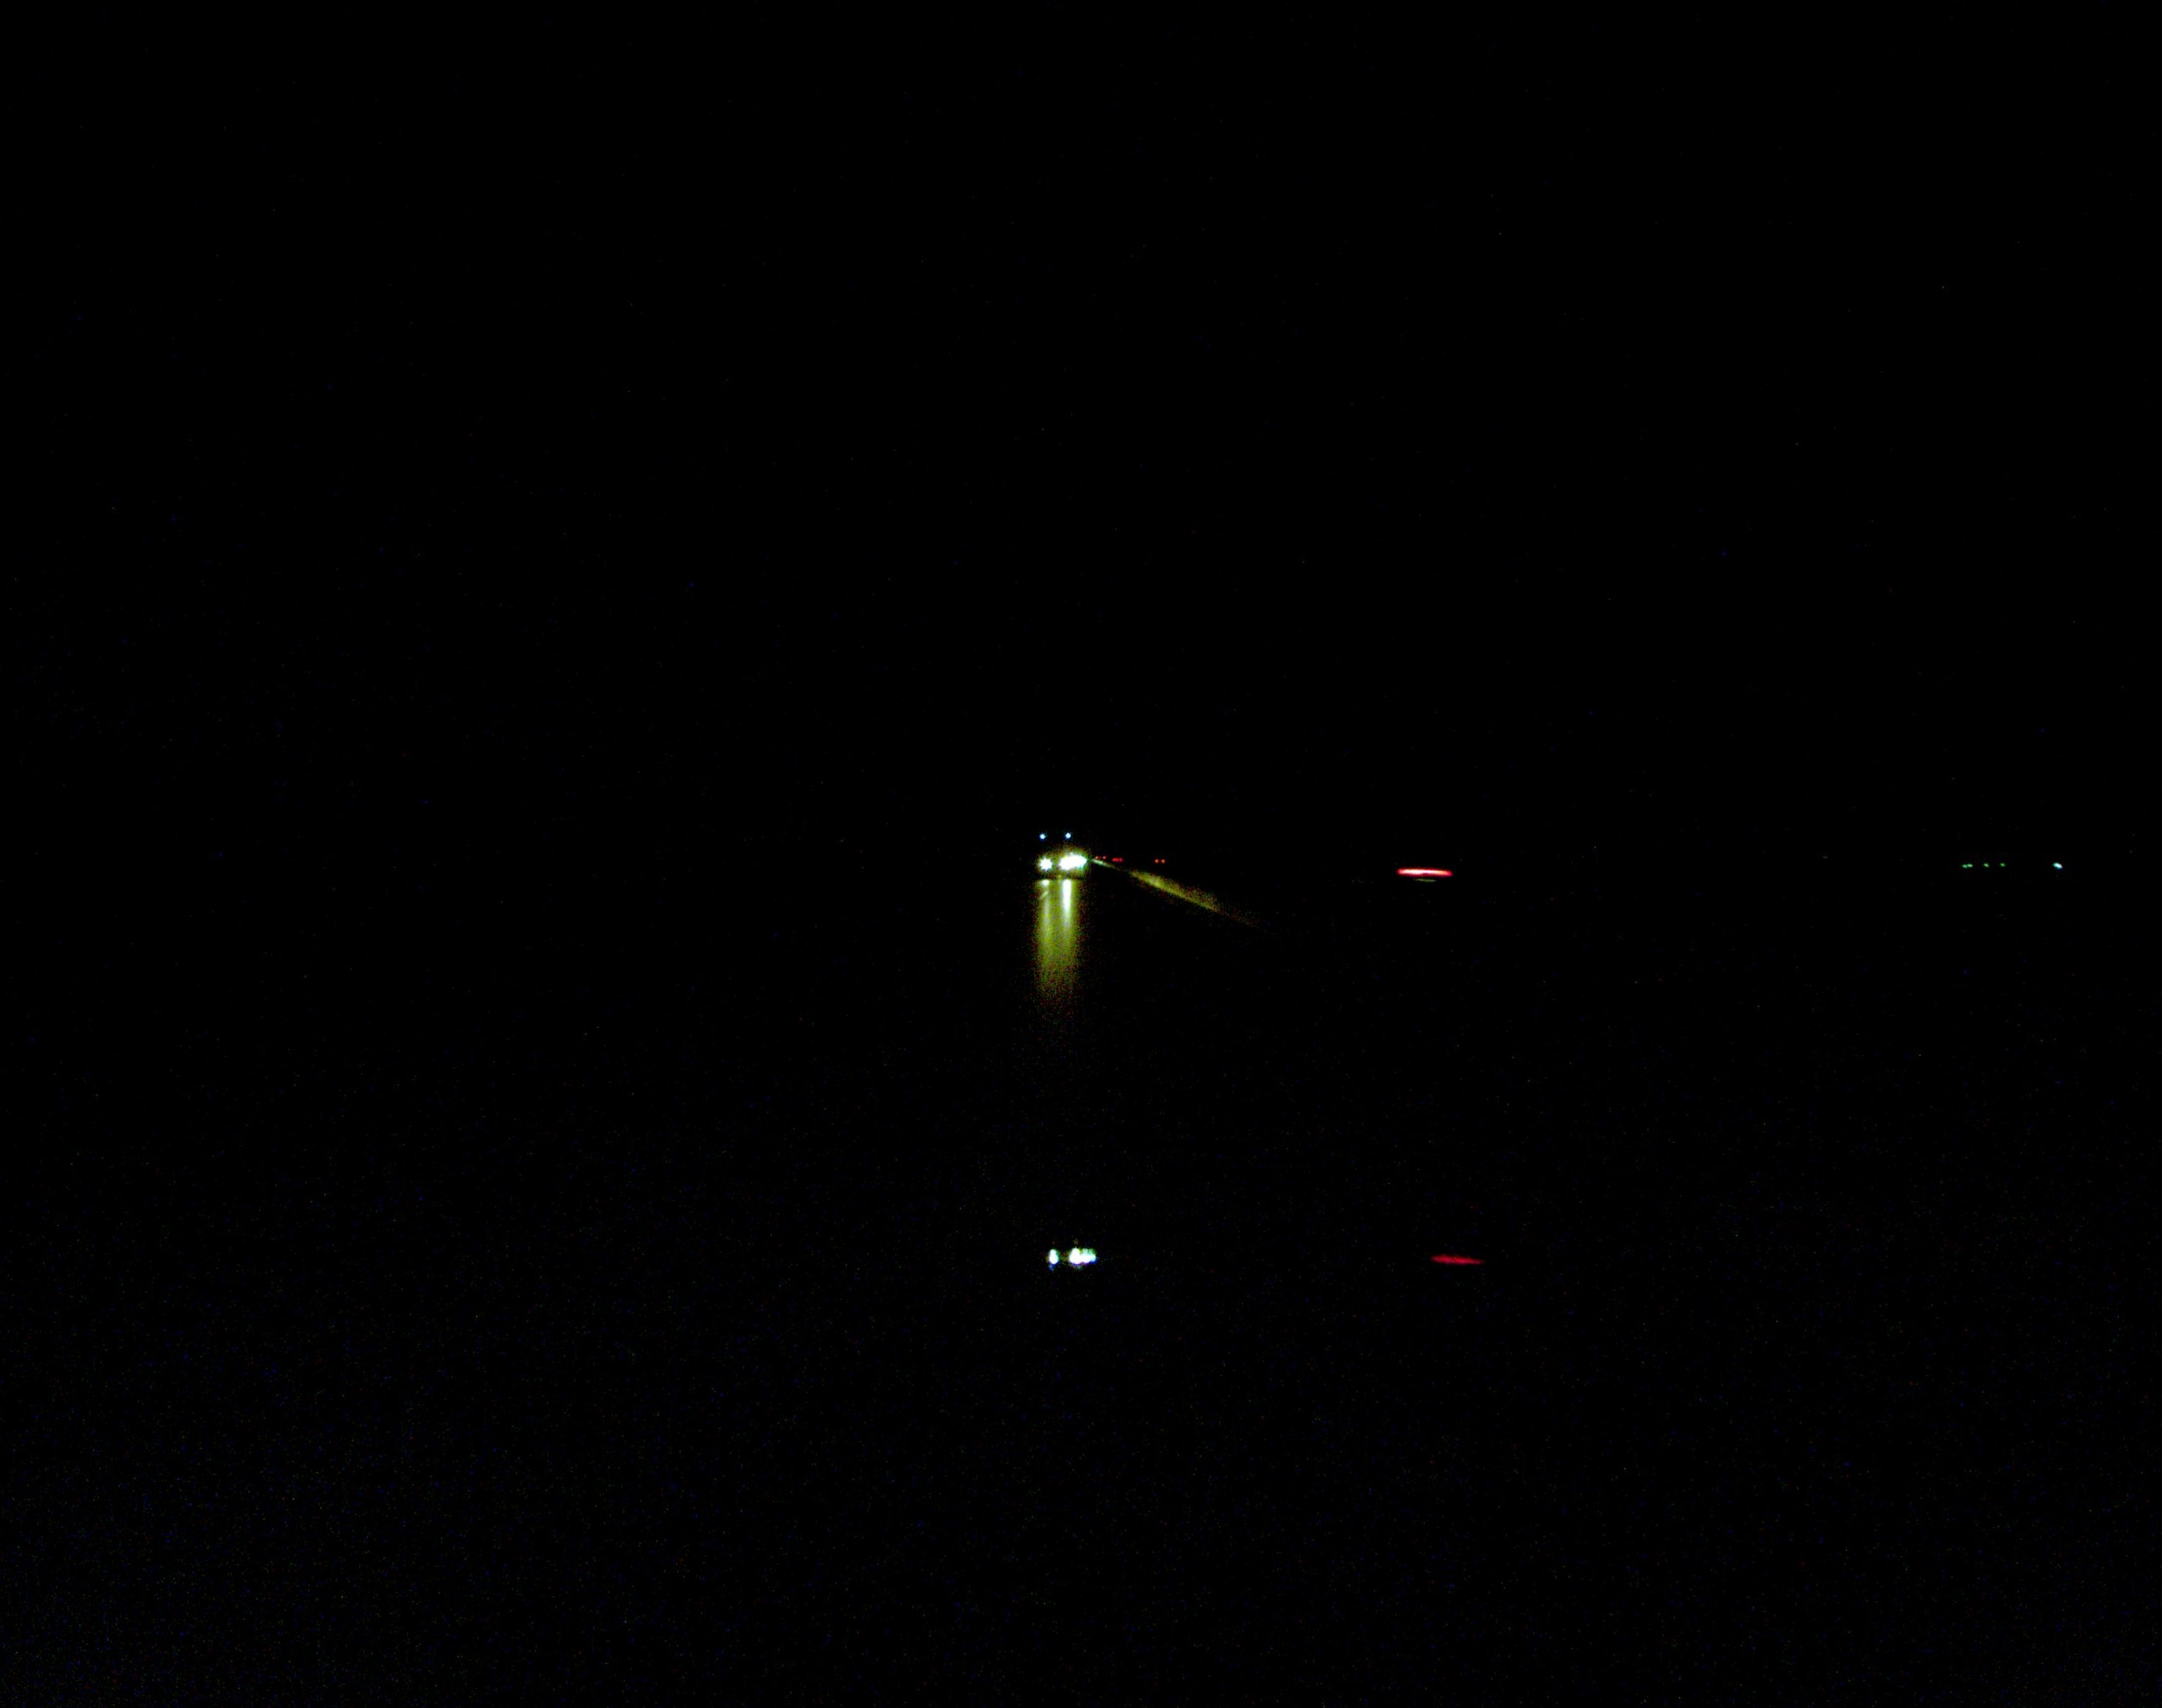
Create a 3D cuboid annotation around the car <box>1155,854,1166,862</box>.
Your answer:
[{"bbox_3d":[17.941,0.879,172.572,2.050,1.710,4.775,1,0,1],"label":"car"}]

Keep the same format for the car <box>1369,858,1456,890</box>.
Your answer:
[{"bbox_3d":[16.101,0.922,37.275,1.999,1.411,4.982,1,0,-1],"label":"car"}]

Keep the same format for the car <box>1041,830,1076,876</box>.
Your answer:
[{"bbox_3d":[-1.635,-0.073,57.097,2.255,3.205,6.878,-2,0,1],"label":"car"}]
